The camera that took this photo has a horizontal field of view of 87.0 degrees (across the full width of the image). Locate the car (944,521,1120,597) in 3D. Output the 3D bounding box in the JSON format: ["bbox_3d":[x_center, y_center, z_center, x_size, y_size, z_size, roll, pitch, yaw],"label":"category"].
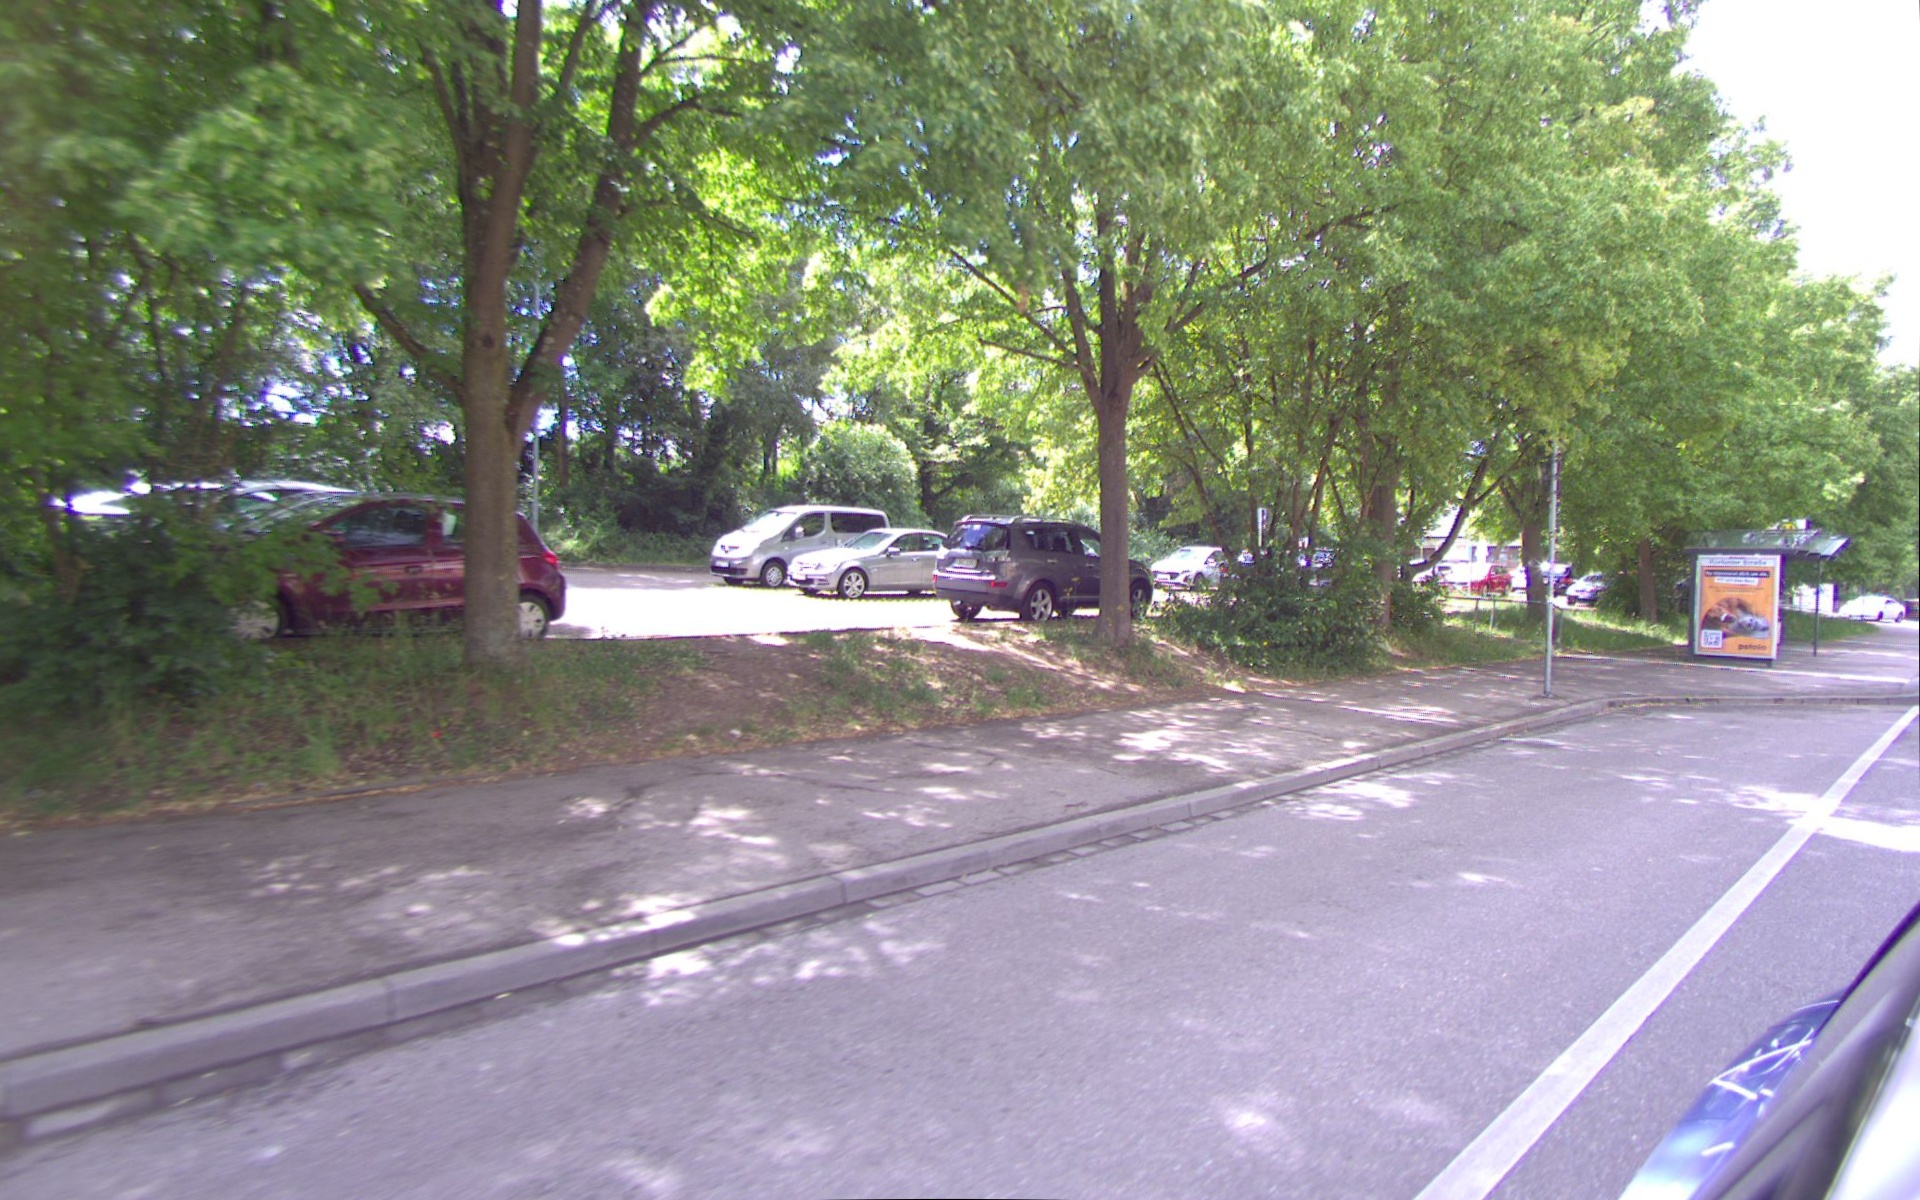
[{"bbox_3d":[1.795,-0.945,24.251,4.354,1.573,1.473,1,4,-41],"label":"car"}]

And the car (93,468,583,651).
[{"bbox_3d":[-5.849,-0.375,9.870,1.607,1.430,3.764,4,3,40],"label":"car"}]

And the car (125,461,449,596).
[{"bbox_3d":[-9.305,-0.940,14.120,3.559,1.633,1.696,0,5,-42],"label":"car"}]

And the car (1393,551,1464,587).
[{"bbox_3d":[21.380,-1.392,46.137,3.601,1.495,1.634,0,4,-43],"label":"car"}]

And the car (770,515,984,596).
[{"bbox_3d":[-1.616,-0.881,20.830,4.279,1.459,1.616,0,4,-43],"label":"car"}]

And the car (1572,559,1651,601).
[{"bbox_3d":[26.113,-0.790,40.512,4.069,1.532,1.630,0,5,-43],"label":"car"}]

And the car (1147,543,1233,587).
[{"bbox_3d":[7.546,-1.162,33.136,2.813,1.318,1.410,-3,7,-44],"label":"car"}]

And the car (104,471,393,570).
[{"bbox_3d":[-11.178,-1.219,16.001,3.559,1.333,1.790,0,5,-42],"label":"car"}]

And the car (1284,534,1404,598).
[{"bbox_3d":[11.665,-1.062,30.618,4.193,1.714,1.690,-3,7,-44],"label":"car"}]

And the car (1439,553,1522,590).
[{"bbox_3d":[22.964,-1.236,44.588,4.468,1.495,1.755,0,4,-43],"label":"car"}]

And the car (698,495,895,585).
[{"bbox_3d":[-3.600,-1.311,22.741,4.137,1.811,1.616,0,5,-43],"label":"car"}]

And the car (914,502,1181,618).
[{"bbox_3d":[1.589,-0.613,17.040,4.644,1.682,1.849,0,1,-43],"label":"car"}]

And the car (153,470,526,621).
[{"bbox_3d":[-7.316,-0.628,12.086,3.559,1.526,1.696,0,5,-42],"label":"car"}]
